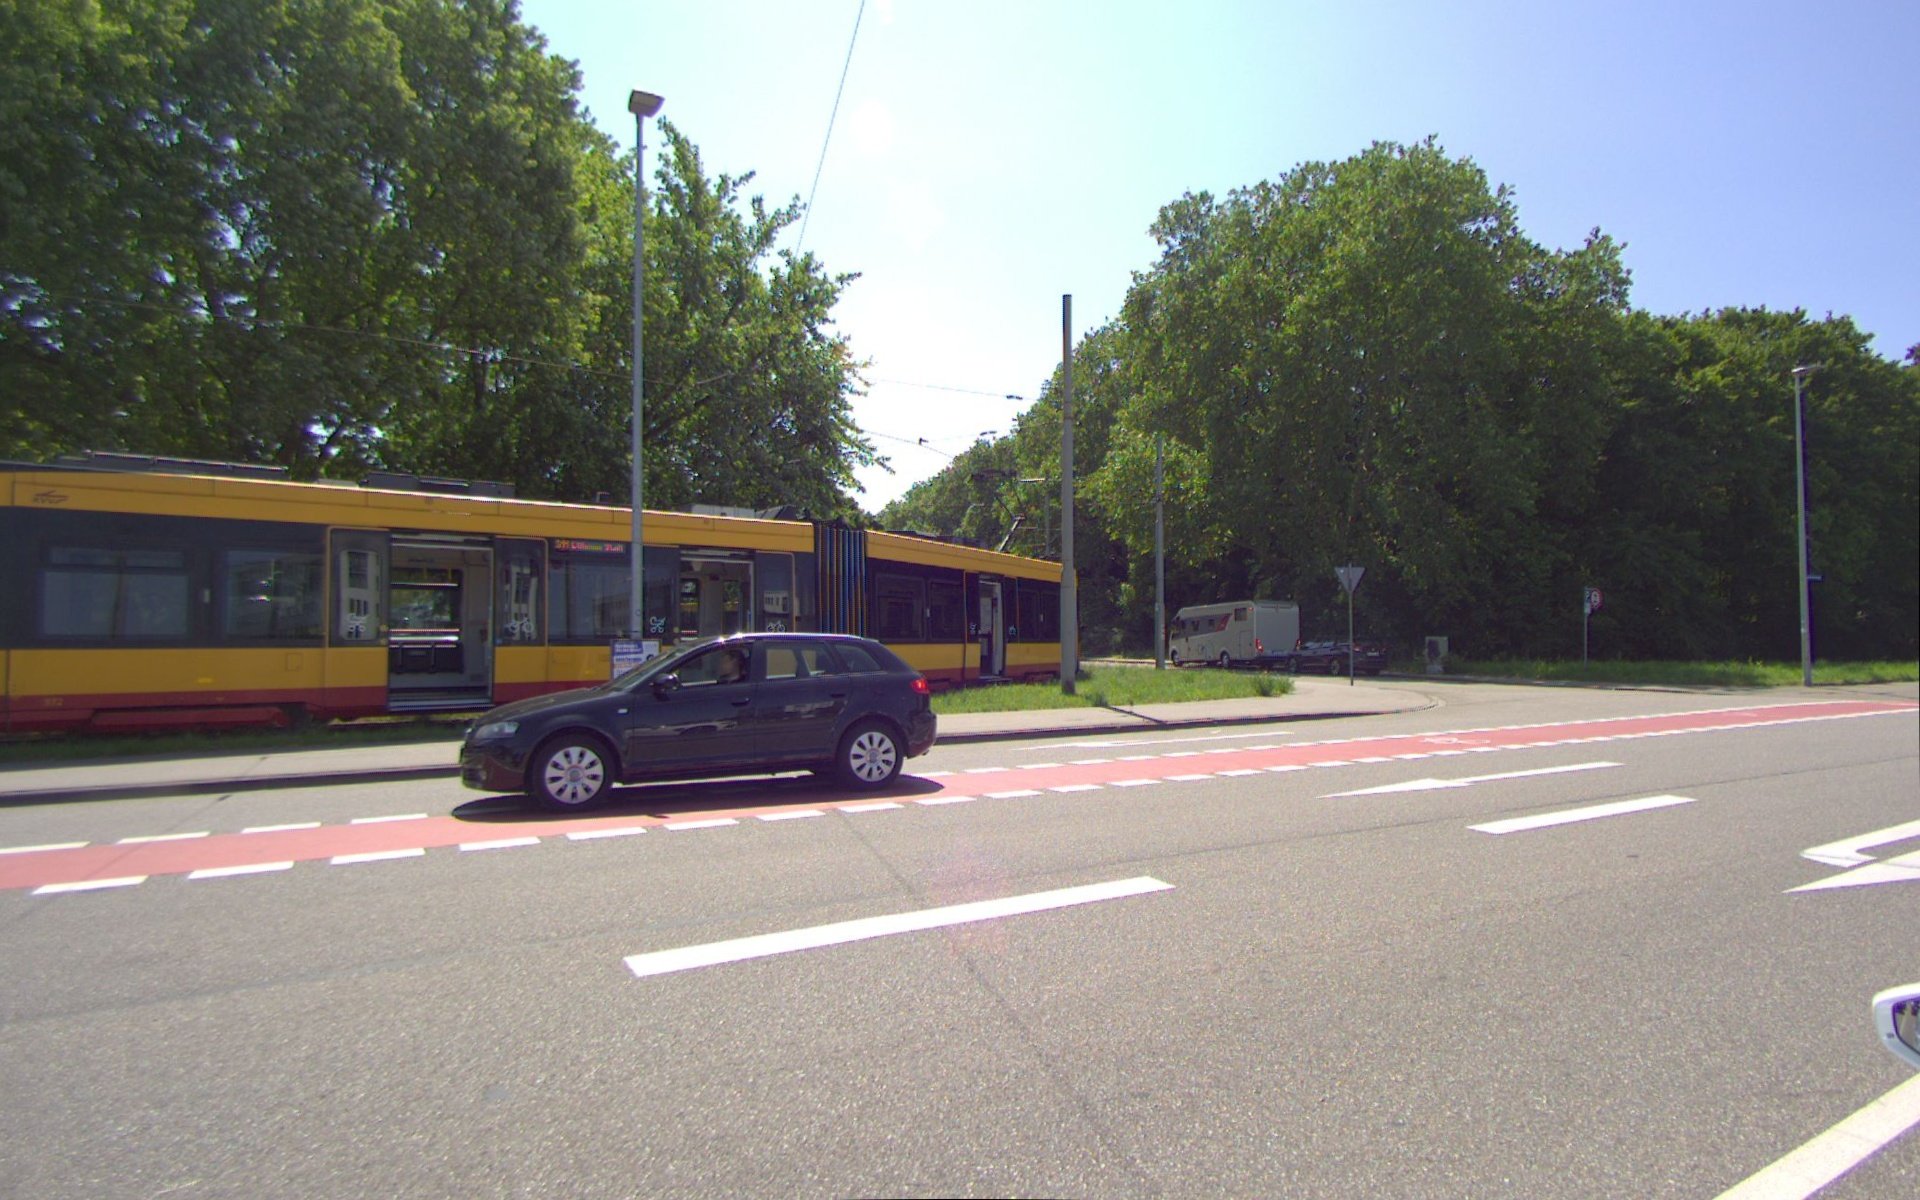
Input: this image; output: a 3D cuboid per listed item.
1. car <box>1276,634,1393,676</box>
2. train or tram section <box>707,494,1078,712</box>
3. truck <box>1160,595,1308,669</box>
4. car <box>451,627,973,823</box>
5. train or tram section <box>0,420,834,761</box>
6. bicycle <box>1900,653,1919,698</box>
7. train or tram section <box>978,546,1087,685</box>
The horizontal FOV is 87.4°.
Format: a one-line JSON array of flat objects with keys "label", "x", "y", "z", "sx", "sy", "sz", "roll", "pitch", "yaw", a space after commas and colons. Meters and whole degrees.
[{"label": "car", "x": 13.747, "y": 2.014, "z": 37.119, "sx": 1.642, "sy": 1.435, "sz": 4.293, "roll": 2, "pitch": -3, "yaw": -21}, {"label": "train or tram section", "x": -0.764, "y": 0.300, "z": 23.390, "sx": 2.971, "sy": 3.808, "sz": 11.603, "roll": -2, "pitch": -3, "yaw": 28}, {"label": "truck", "x": 11.715, "y": 1.473, "z": 43.805, "sx": 2.528, "sy": 2.947, "sz": 7.312, "roll": 1, "pitch": -3, "yaw": -19}, {"label": "car", "x": -2.227, "y": 1.022, "z": 9.332, "sx": 4.380, "sy": 1.424, "sz": 1.739, "roll": 0, "pitch": -3, "yaw": -25}, {"label": "train or tram section", "x": -8.243, "y": 0.022, "z": 14.917, "sx": 12.871, "sy": 3.808, "sz": 2.996, "roll": 1, "pitch": -3, "yaw": -37}, {"label": "bicycle", "x": 24.533, "y": 1.871, "z": 24.991, "sx": 2.009, "sy": 1.069, "sz": 0.669, "roll": 0, "pitch": 0, "yaw": -12}, {"label": "train or tram section", "x": 2.317, "y": 0.772, "z": 34.989, "sx": 2.965, "sy": 3.808, "sz": 14.057, "roll": -1, "pitch": -3, "yaw": 2}]
